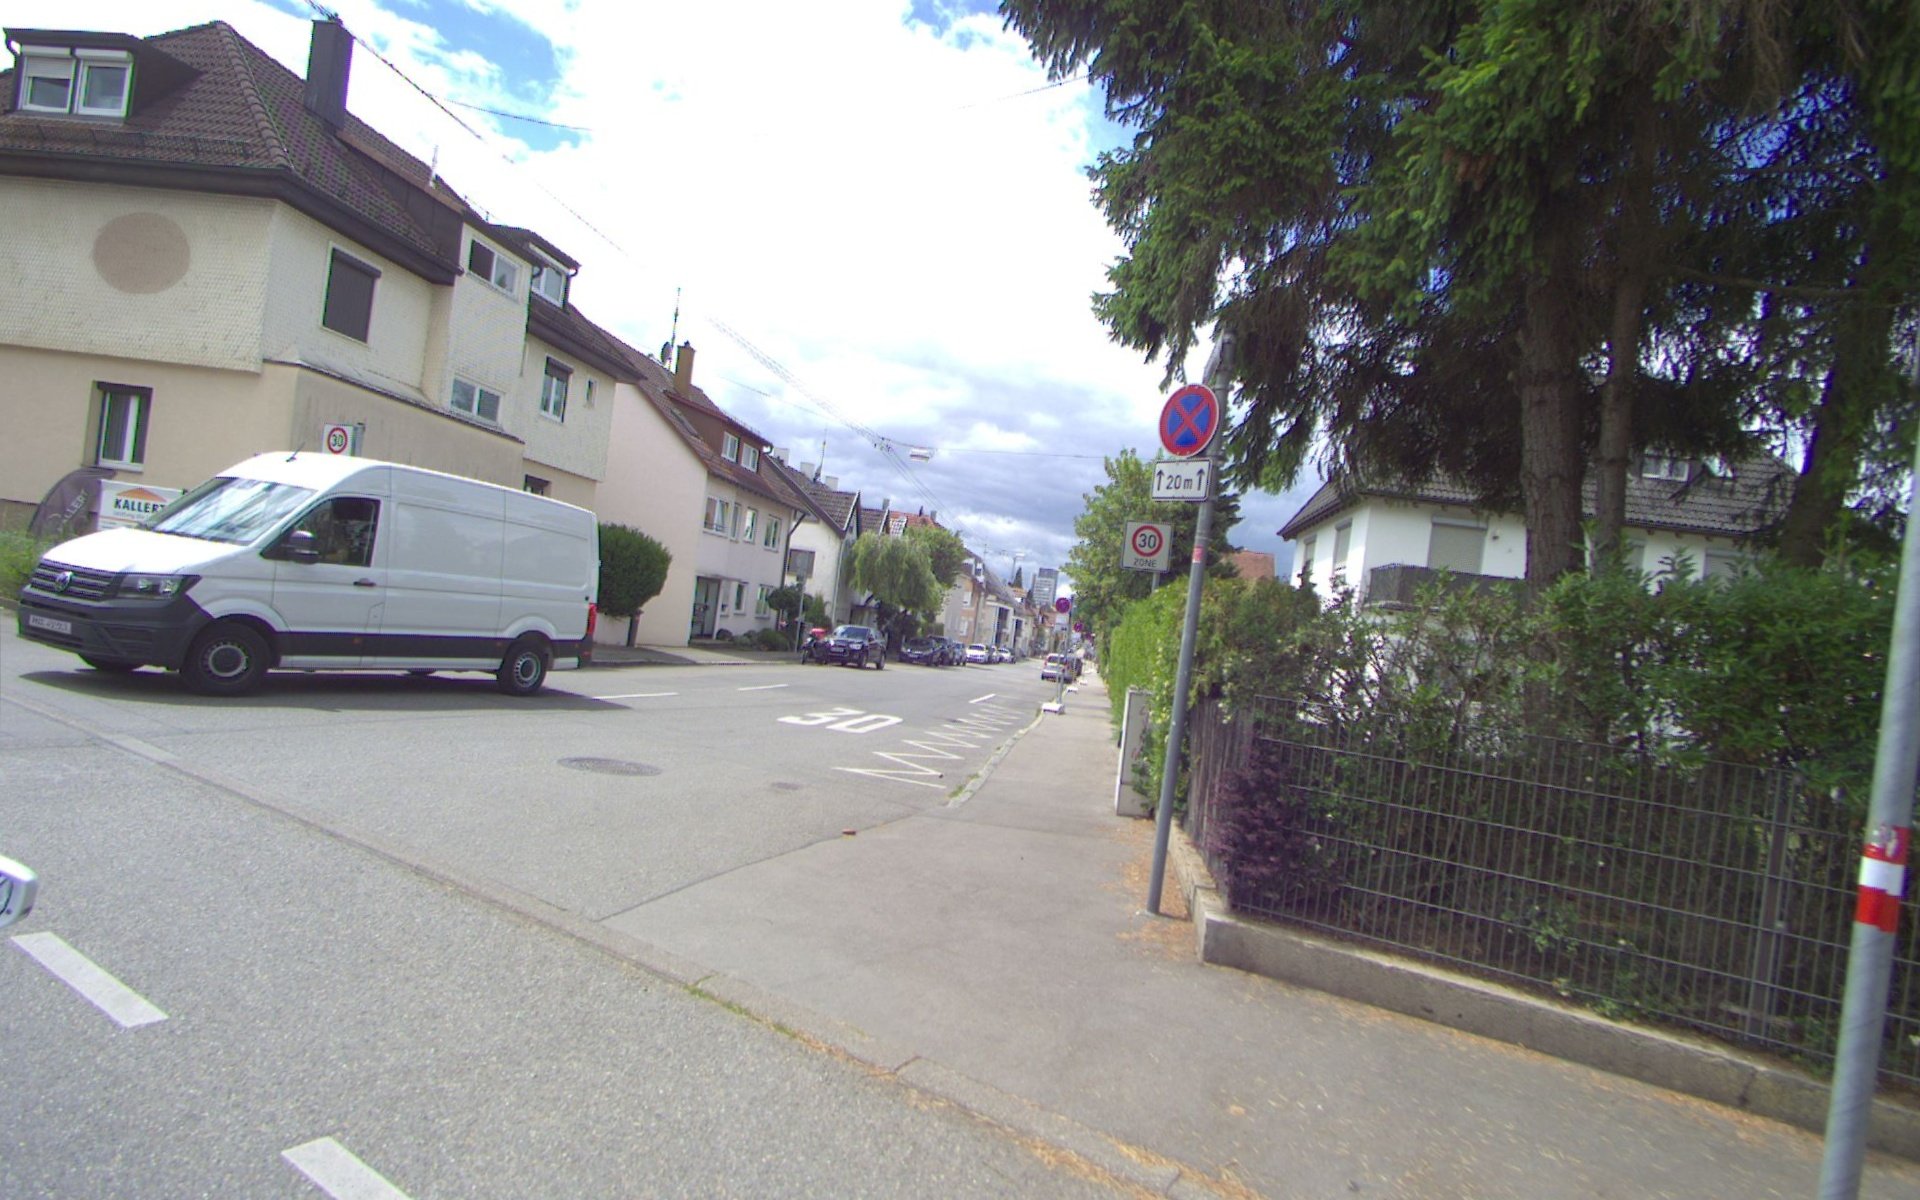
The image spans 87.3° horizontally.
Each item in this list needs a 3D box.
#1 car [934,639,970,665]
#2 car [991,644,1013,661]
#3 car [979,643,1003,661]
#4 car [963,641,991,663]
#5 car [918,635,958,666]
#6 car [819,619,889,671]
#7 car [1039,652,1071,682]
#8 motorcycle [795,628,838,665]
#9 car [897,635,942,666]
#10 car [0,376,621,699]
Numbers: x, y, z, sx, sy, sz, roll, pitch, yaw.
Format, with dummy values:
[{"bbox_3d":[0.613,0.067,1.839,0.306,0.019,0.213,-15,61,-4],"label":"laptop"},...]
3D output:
[{"bbox_3d":[-0.497,3.302,64.307,1.672,1.400,4.005,7,-2,7],"label":"car"},{"bbox_3d":[4.103,5.017,96.771,1.672,1.400,4.005,7,-2,7],"label":"car"},{"bbox_3d":[2.742,4.571,88.324,1.672,1.400,4.005,7,-2,7],"label":"car"},{"bbox_3d":[1.341,4.010,77.529,1.672,1.400,4.005,7,-2,7],"label":"car"},{"bbox_3d":[-1.237,2.942,58.975,1.672,1.561,4.005,7,-2,7],"label":"car"},{"bbox_3d":[-3.994,1.727,38.579,1.672,1.681,4.005,7,-2,7],"label":"car"},{"bbox_3d":[5.693,3.981,60.055,1.672,1.560,4.005,7,-2,7],"label":"car"},{"bbox_3d":[-5.028,1.639,35.304,0.521,1.172,1.761,6,-1,24],"label":"motorcycle"},{"bbox_3d":[-2.118,2.693,53.429,1.672,1.400,4.005,7,-2,7],"label":"car"},{"bbox_3d":[-6.807,-0.387,11.517,1.963,2.612,6.018,8,-1,20],"label":"car"}]
